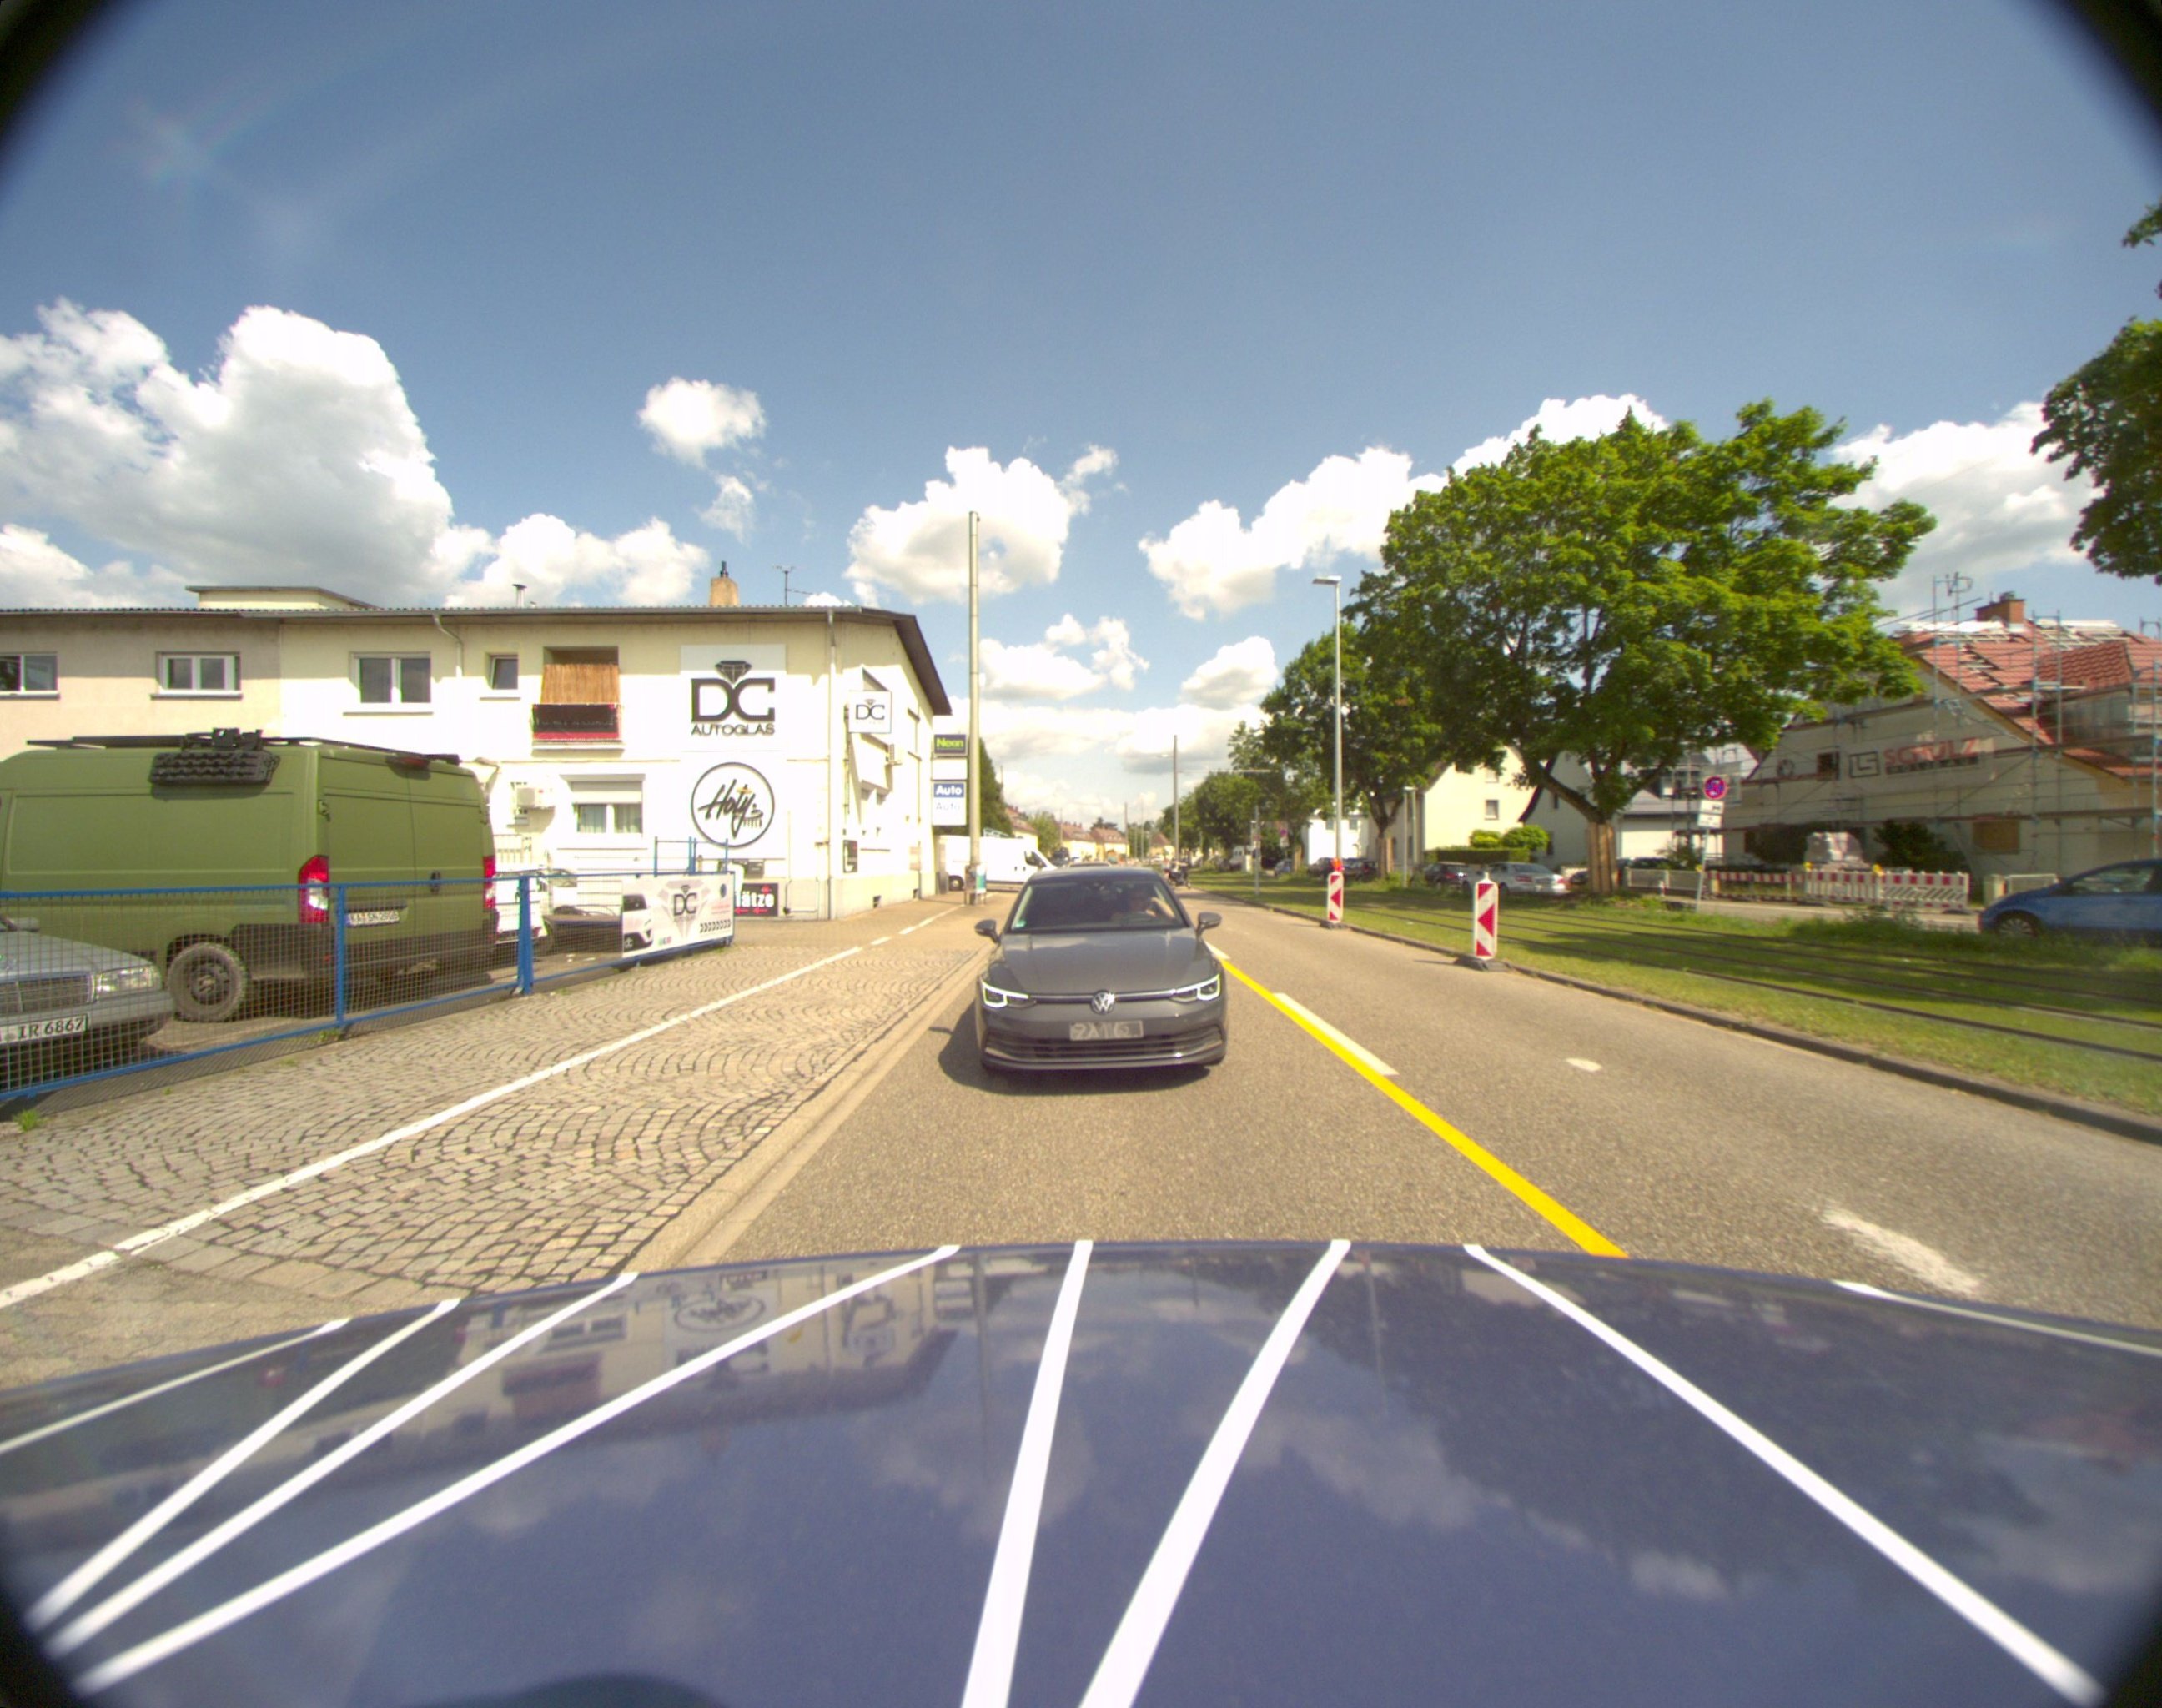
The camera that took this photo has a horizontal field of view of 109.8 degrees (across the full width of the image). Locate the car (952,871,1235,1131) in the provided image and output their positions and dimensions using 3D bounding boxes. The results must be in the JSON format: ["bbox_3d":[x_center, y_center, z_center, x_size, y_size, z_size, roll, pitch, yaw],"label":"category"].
[{"bbox_3d":[0.103,0.937,6.587,1.702,1.477,4.000,0,0,1],"label":"car"}]

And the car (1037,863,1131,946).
[{"bbox_3d":[0.079,0.942,15.803,1.702,1.477,4.000,0,0,1],"label":"car"}]

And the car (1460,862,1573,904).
[{"bbox_3d":[16.420,1.068,28.956,1.788,1.477,4.523,-1,-1,2],"label":"car"}]

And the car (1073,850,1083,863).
[{"bbox_3d":[-0.490,0.427,136.274,1.701,2.233,4.947,0,0,2],"label":"car"}]

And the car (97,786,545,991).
[{"bbox_3d":[-9.502,0.411,9.715,4.207,2.392,1.586,0,0,2],"label":"car"}]

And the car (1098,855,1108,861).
[{"bbox_3d":[5.215,0.921,179.721,1.700,1.574,4.005,0,0,15],"label":"car"}]

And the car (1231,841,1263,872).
[{"bbox_3d":[16.817,0.277,77.272,2.136,3.019,5.084,-1,-1,1],"label":"car"}]

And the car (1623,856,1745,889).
[{"bbox_3d":[28.905,0.891,36.511,4.402,1.477,1.704,-1,-1,1],"label":"car"}]

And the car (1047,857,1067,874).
[{"bbox_3d":[-2.185,1.051,70.755,1.702,1.574,4.000,0,0,1],"label":"car"}]

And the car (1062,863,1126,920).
[{"bbox_3d":[0.378,1.012,22.282,1.702,1.477,4.000,0,0,1],"label":"car"}]

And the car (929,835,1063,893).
[{"bbox_3d":[-3.849,0.448,34.627,5.841,2.449,2.091,2,0,-7],"label":"car"}]

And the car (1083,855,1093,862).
[{"bbox_3d":[1.446,0.913,155.838,1.701,1.574,4.002,0,0,7],"label":"car"}]

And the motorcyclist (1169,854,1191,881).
[{"bbox_3d":[4.804,0.641,36.836,0.781,1.284,0.657,0,1,-32],"label":"motorcyclist"}]

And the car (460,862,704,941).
[{"bbox_3d":[-9.655,0.887,14.878,3.775,1.454,1.555,0,0,2],"label":"car"}]

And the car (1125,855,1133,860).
[{"bbox_3d":[13.826,0.954,218.683,1.700,1.574,4.005,0,0,16],"label":"car"}]

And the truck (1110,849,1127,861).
[{"bbox_3d":[9.916,0.152,201.052,2.710,3.119,8.124,0,0,15],"label":"truck"}]

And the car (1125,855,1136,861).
[{"bbox_3d":[11.999,0.962,183.427,2.116,1.477,4.409,0,0,12],"label":"car"}]

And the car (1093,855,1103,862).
[{"bbox_3d":[3.850,0.920,173.598,1.700,1.574,4.004,0,0,12],"label":"car"}]

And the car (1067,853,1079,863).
[{"bbox_3d":[-1.313,0.678,123.041,1.701,1.574,4.001,0,0,3],"label":"car"}]

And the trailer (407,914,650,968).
[{"bbox_3d":[-8.368,1.308,11.661,2.733,0.662,1.329,0,0,-1],"label":"trailer"}]

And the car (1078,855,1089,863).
[{"bbox_3d":[0.487,0.909,146.708,1.701,1.574,4.002,0,0,6],"label":"car"}]

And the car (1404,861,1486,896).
[{"bbox_3d":[16.625,1.122,34.938,1.702,1.477,4.407,-1,-1,1],"label":"car"}]

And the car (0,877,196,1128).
[{"bbox_3d":[-8.459,0.890,4.775,4.282,1.444,1.713,0,0,8],"label":"car"}]

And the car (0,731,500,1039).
[{"bbox_3d":[-8.726,0.272,7.611,4.207,2.627,2.113,0,0,2],"label":"car"}]

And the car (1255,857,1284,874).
[{"bbox_3d":[17.646,1.080,71.327,1.702,1.477,4.407,-1,-1,1],"label":"car"}]

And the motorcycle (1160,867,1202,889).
[{"bbox_3d":[4.855,1.147,36.871,2.115,1.040,0.657,0,0,-33],"label":"motorcycle"}]

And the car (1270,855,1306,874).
[{"bbox_3d":[16.644,0.878,61.282,1.702,1.477,4.407,-1,-1,1],"label":"car"}]

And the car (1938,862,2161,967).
[{"bbox_3d":[16.182,0.867,11.400,1.702,1.477,4.407,-1,-1,1],"label":"car"}]

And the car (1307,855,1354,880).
[{"bbox_3d":[16.554,0.901,50.662,1.702,1.562,4.407,-1,-1,1],"label":"car"}]

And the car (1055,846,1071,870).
[{"bbox_3d":[-1.912,0.453,82.440,1.702,2.510,5.144,0,0,0],"label":"car"}]

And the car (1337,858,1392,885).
[{"bbox_3d":[16.770,1.037,45.156,1.702,1.477,4.407,-1,-1,1],"label":"car"}]
